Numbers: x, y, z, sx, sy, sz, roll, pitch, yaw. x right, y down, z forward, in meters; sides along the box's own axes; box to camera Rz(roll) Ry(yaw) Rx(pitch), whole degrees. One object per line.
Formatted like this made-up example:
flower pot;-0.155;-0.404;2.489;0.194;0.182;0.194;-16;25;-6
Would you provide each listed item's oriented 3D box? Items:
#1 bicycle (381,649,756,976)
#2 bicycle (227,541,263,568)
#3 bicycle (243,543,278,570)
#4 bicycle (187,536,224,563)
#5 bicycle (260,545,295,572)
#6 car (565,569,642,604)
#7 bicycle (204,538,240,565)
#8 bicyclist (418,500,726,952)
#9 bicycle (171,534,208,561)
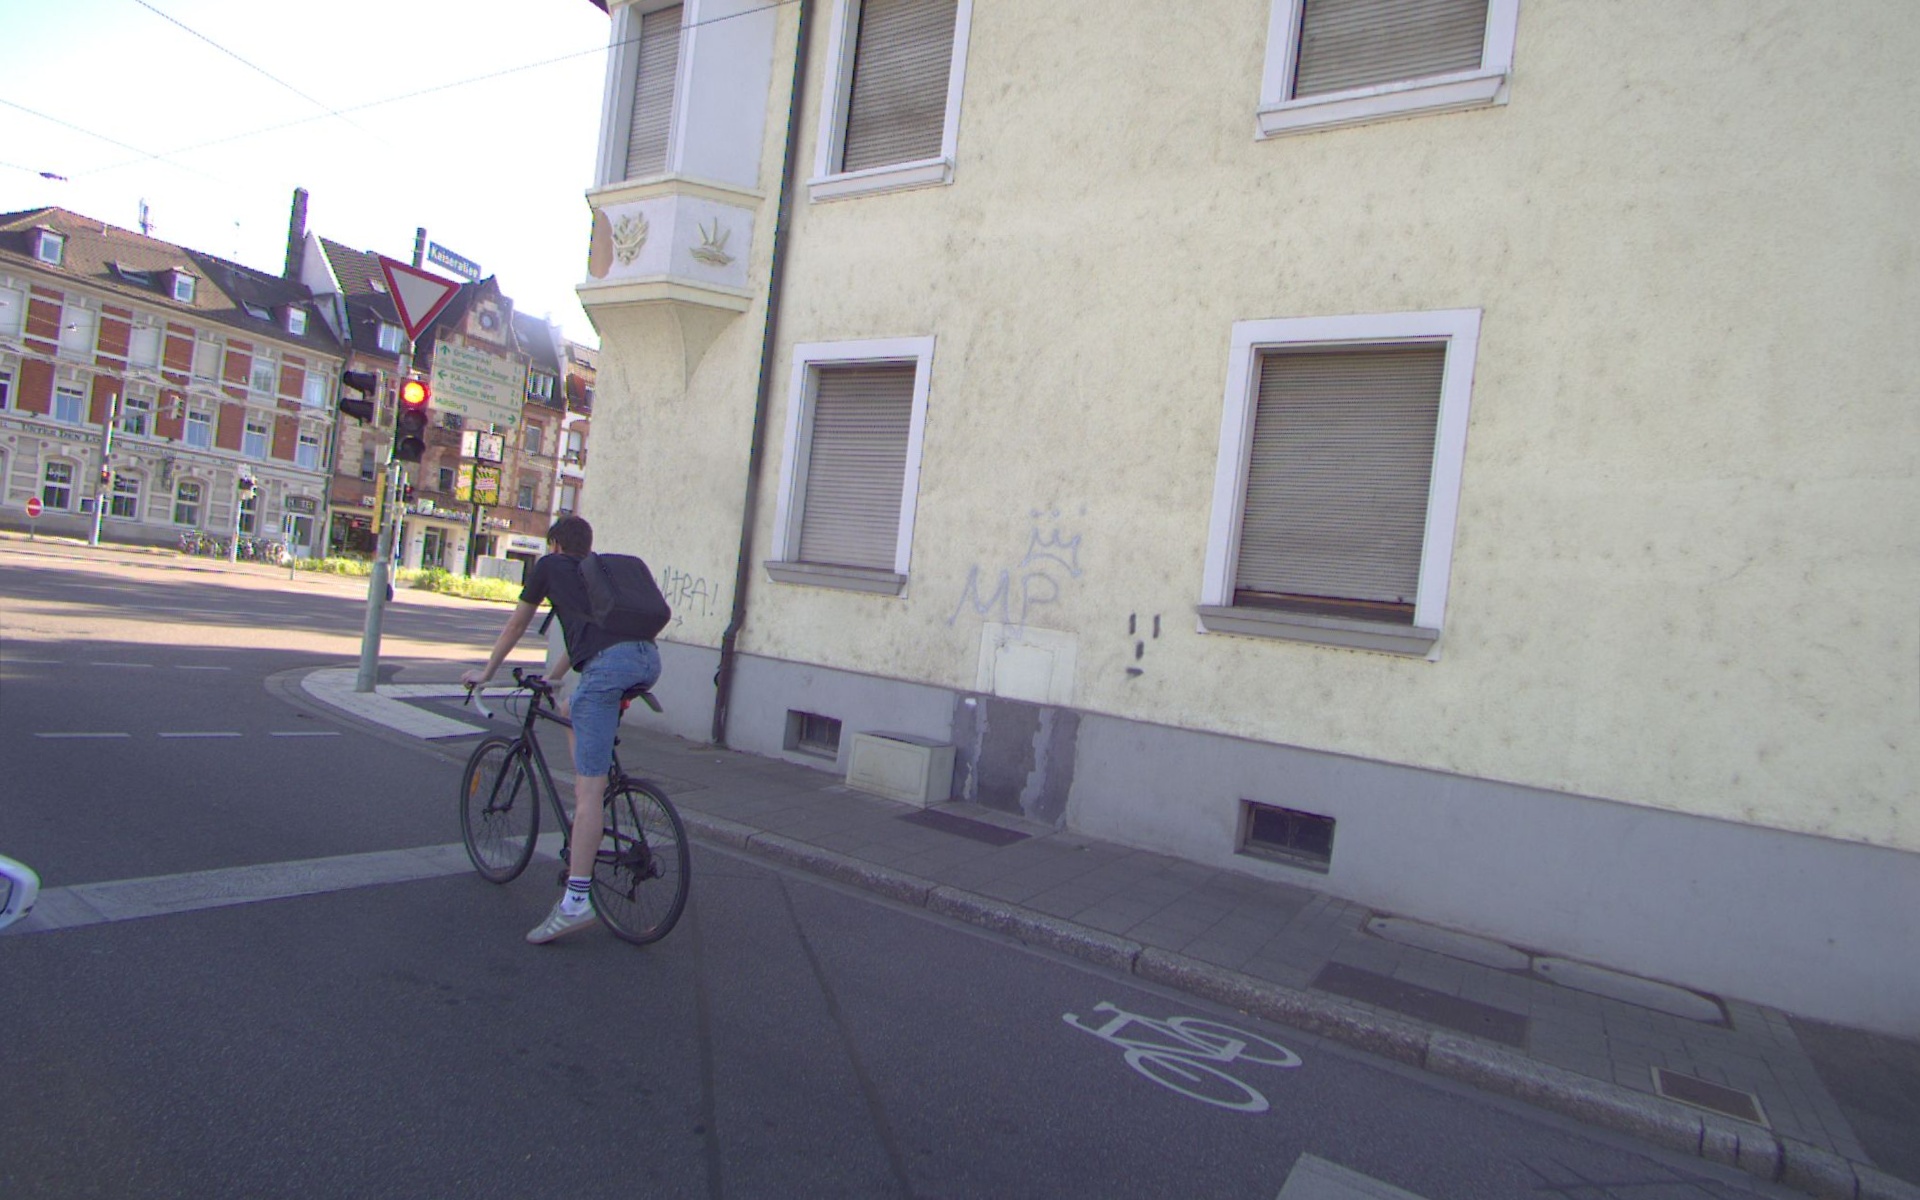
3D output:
bicycle;-1.791;0.849;4.488;1.729;1.029;0.532;7;0;32
bicycle;-33.641;-2.142;47.338;1.614;1.064;0.606;7;0;27
bicycle;-33.347;-2.079;47.948;1.614;1.064;0.606;7;0;27
bicycle;-34.638;-2.319;46.192;1.614;1.064;0.606;7;0;27
bicycle;-32.973;-2.004;48.585;1.614;1.064;0.606;7;0;27
car;-23.114;-0.851;65.305;1.966;1.674;4.378;7;-1;29
bicycle;-34.307;-2.253;46.767;1.614;1.064;0.606;7;0;27
bicyclist;-1.734;0.495;4.484;1.066;1.751;0.561;6;-1;32
bicycle;-34.938;-2.382;45.609;1.614;1.064;0.606;7;0;27
